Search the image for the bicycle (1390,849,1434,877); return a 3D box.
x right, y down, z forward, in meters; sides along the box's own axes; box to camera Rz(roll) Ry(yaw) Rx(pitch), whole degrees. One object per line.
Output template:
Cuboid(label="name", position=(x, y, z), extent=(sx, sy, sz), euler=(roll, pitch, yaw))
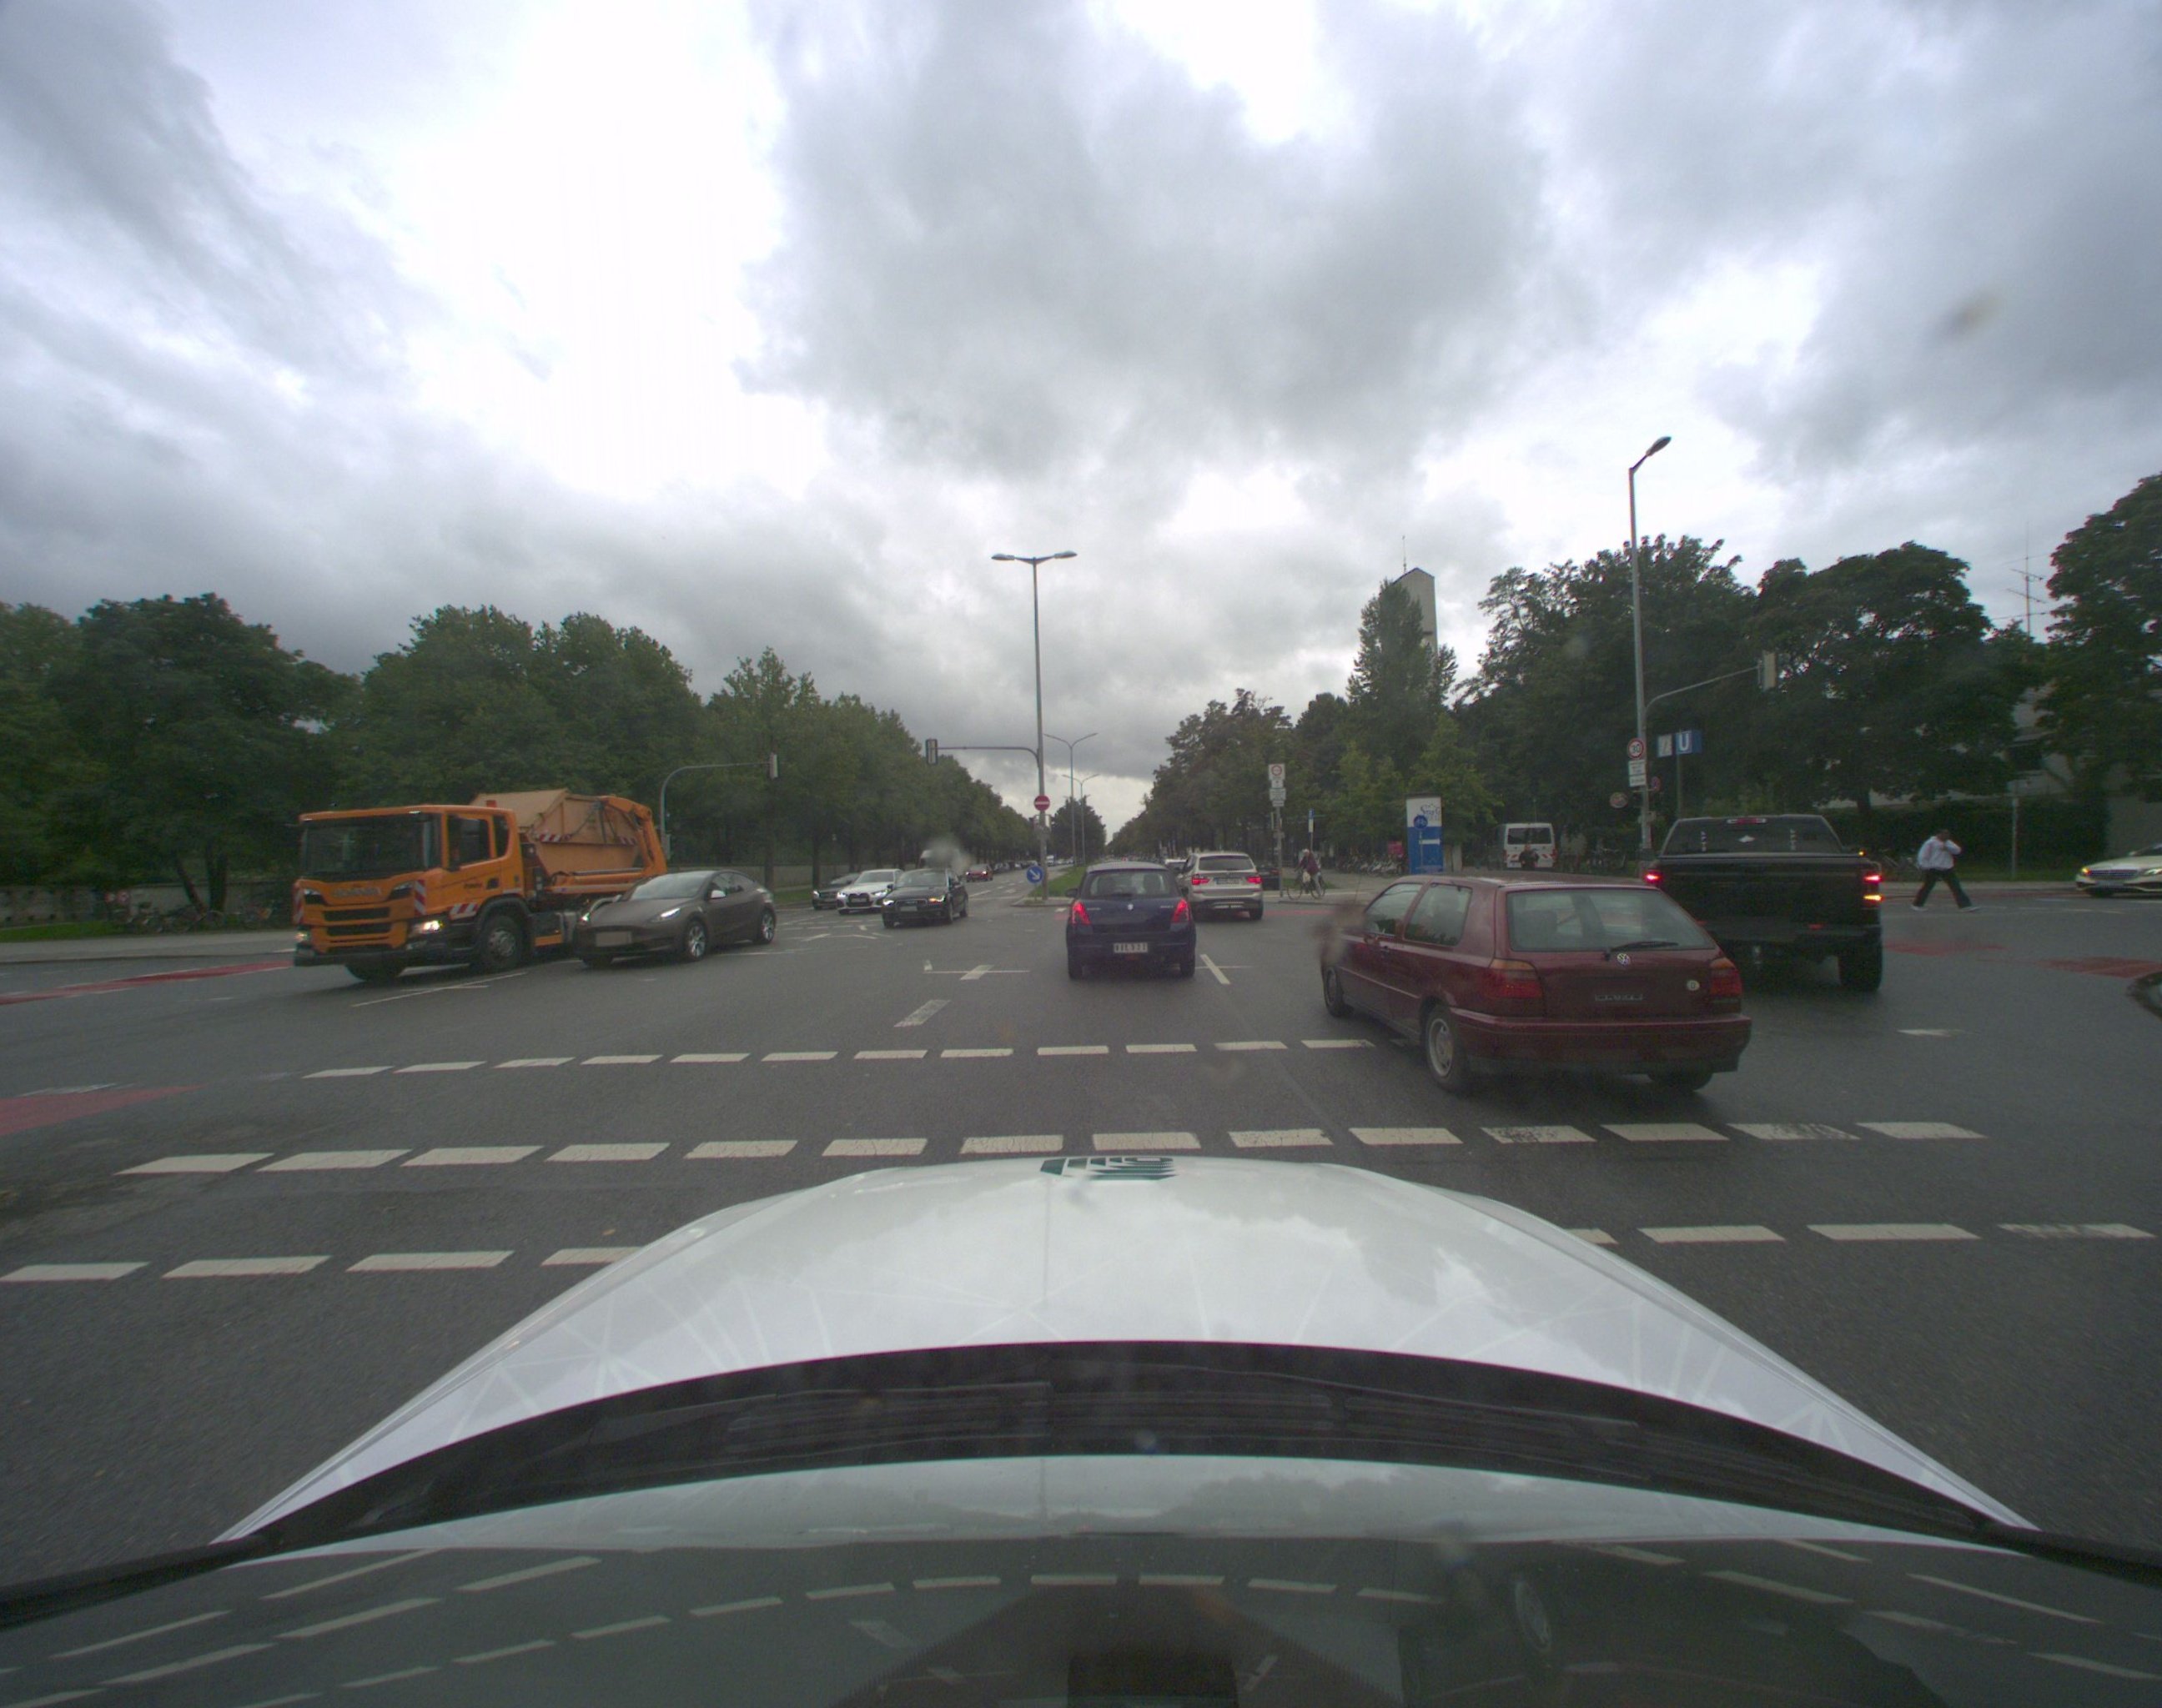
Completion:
Cuboid(label="bicycle", position=(16.179, 0.446, 39.769), extent=(1.939, 1.212, 0.565), euler=(-3, -1, -10))

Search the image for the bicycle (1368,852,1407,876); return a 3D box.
Cuboid(label="bicycle", position=(16.098, 0.506, 42.837), extent=(1.797, 1.142, 0.568), euler=(-4, -1, 6))

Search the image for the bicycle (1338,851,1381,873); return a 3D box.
Cuboid(label="bicycle", position=(16.724, 0.456, 48.941), extent=(2.330, 1.157, 0.529), euler=(-4, 0, 1))

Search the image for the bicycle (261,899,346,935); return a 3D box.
Cuboid(label="bicycle", position=(-29.744, 2.376, 31.218), extent=(0.832, 1.186, 2.496), euler=(-2, 0, 0))

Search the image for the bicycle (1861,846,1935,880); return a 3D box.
Cuboid(label="bicycle", position=(27.468, 0.295, 27.436), extent=(0.604, 1.095, 2.120), euler=(-2, 0, 10))

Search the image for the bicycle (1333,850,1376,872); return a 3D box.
Cuboid(label="bicycle", position=(16.620, 0.422, 49.493), extent=(2.330, 1.157, 0.529), euler=(-4, 0, 1))

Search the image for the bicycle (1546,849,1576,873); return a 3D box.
Cuboid(label="bicycle", position=(24.689, 0.336, 41.884), extent=(2.140, 1.153, 0.710), euler=(-2, -1, -42))

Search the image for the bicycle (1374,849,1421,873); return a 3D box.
Cuboid(label="bicycle", position=(17.919, 0.388, 46.108), extent=(2.330, 1.157, 0.585), euler=(-4, 0, 1))

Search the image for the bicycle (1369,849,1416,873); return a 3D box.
Cuboid(label="bicycle", position=(17.363, 0.410, 45.466), extent=(2.330, 1.157, 0.585), euler=(-4, 0, 1))

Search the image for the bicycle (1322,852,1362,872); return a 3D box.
Cuboid(label="bicycle", position=(16.928, 0.517, 52.898), extent=(2.330, 1.157, 0.529), euler=(-4, 0, 1))

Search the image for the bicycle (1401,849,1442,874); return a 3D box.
Cuboid(label="bicycle", position=(17.604, 0.393, 42.083), extent=(1.799, 1.142, 0.567), euler=(-4, -1, 2))

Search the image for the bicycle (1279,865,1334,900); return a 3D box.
Cuboid(label="bicycle", position=(7.808, 0.973, 28.181), extent=(1.955, 1.081, 0.740), euler=(-2, -1, -34))

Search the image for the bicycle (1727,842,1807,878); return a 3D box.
Cuboid(label="bicycle", position=(24.870, 0.232, 29.581), extent=(0.704, 1.250, 2.097), euler=(-2, 0, -24))

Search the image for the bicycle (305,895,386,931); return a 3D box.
Cuboid(label="bicycle", position=(-28.428, 2.269, 31.542), extent=(0.832, 1.186, 2.496), euler=(-2, 0, 0))

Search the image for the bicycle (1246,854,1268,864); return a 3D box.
Cuboid(label="bicycle", position=(21.858, 0.601, 101.143), extent=(2.533, 1.089, 0.647), euler=(-2, -1, 1))

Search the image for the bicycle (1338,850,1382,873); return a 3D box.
Cuboid(label="bicycle", position=(16.566, 0.448, 48.392), extent=(2.330, 1.157, 0.529), euler=(-4, 0, 1))

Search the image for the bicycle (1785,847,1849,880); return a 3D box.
Cuboid(label="bicycle", position=(26.054, 0.322, 28.862), extent=(0.604, 1.095, 2.120), euler=(-2, 0, 10))

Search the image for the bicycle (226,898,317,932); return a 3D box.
Cuboid(label="bicycle", position=(-33.580, 2.486, 33.861), extent=(0.832, 1.186, 2.884), euler=(-2, 0, 0))

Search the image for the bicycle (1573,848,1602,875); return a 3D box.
Cuboid(label="bicycle", position=(22.752, 0.340, 36.571), extent=(0.709, 1.153, 2.142), euler=(-2, -1, 41))

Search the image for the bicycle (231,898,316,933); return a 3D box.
Cuboid(label="bicycle", position=(-31.972, 2.420, 32.297), extent=(0.832, 1.186, 2.496), euler=(-2, 0, 0))

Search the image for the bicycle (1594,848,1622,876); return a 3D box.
Cuboid(label="bicycle", position=(23.324, 0.331, 36.017), extent=(0.709, 1.153, 2.142), euler=(-2, -1, 41))

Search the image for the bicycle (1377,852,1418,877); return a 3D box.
Cuboid(label="bicycle", position=(15.675, 0.508, 40.355), extent=(1.806, 1.142, 0.565), euler=(-3, -1, -10))

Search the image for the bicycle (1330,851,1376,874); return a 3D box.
Cuboid(label="bicycle", position=(15.536, 0.483, 46.530), extent=(2.330, 1.157, 0.585), euler=(-4, 0, 1))

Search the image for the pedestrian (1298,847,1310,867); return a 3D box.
Cuboid(label="pedestrian", position=(16.791, 0.248, 61.403), extent=(0.580, 1.513, 0.690), euler=(-2, -1, -17))

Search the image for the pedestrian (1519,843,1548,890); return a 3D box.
Cuboid(label="pedestrian", position=(15.189, 0.404, 27.353), extent=(0.684, 1.538, 0.741), euler=(-2, -1, 21))

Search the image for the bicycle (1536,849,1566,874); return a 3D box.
Cuboid(label="bicycle", position=(22.943, 0.351, 39.741), extent=(2.141, 1.153, 0.709), euler=(-2, -1, -44))

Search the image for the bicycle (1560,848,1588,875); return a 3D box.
Cuboid(label="bicycle", position=(23.169, 0.342, 38.266), extent=(0.709, 1.153, 2.142), euler=(-2, -1, 41))

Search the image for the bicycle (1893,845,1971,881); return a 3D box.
Cuboid(label="bicycle", position=(28.048, 0.286, 26.899), extent=(0.604, 1.095, 2.120), euler=(-2, 0, 10))

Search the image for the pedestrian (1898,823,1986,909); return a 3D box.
Cuboid(label="pedestrian", position=(17.760, 0.248, 16.814), extent=(0.759, 1.703, 0.937), euler=(-2, -1, -8))

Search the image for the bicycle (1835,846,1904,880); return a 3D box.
Cuboid(label="bicycle", position=(26.708, 0.289, 27.641), extent=(0.604, 1.095, 2.121), euler=(-2, 0, 11))

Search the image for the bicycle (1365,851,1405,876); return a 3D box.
Cuboid(label="bicycle", position=(15.587, 0.493, 41.814), extent=(1.795, 1.142, 0.569), euler=(-4, -1, 10))

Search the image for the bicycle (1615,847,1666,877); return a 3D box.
Cuboid(label="bicycle", position=(22.917, 0.325, 33.377), extent=(0.713, 1.153, 2.131), euler=(-2, 0, 4))
